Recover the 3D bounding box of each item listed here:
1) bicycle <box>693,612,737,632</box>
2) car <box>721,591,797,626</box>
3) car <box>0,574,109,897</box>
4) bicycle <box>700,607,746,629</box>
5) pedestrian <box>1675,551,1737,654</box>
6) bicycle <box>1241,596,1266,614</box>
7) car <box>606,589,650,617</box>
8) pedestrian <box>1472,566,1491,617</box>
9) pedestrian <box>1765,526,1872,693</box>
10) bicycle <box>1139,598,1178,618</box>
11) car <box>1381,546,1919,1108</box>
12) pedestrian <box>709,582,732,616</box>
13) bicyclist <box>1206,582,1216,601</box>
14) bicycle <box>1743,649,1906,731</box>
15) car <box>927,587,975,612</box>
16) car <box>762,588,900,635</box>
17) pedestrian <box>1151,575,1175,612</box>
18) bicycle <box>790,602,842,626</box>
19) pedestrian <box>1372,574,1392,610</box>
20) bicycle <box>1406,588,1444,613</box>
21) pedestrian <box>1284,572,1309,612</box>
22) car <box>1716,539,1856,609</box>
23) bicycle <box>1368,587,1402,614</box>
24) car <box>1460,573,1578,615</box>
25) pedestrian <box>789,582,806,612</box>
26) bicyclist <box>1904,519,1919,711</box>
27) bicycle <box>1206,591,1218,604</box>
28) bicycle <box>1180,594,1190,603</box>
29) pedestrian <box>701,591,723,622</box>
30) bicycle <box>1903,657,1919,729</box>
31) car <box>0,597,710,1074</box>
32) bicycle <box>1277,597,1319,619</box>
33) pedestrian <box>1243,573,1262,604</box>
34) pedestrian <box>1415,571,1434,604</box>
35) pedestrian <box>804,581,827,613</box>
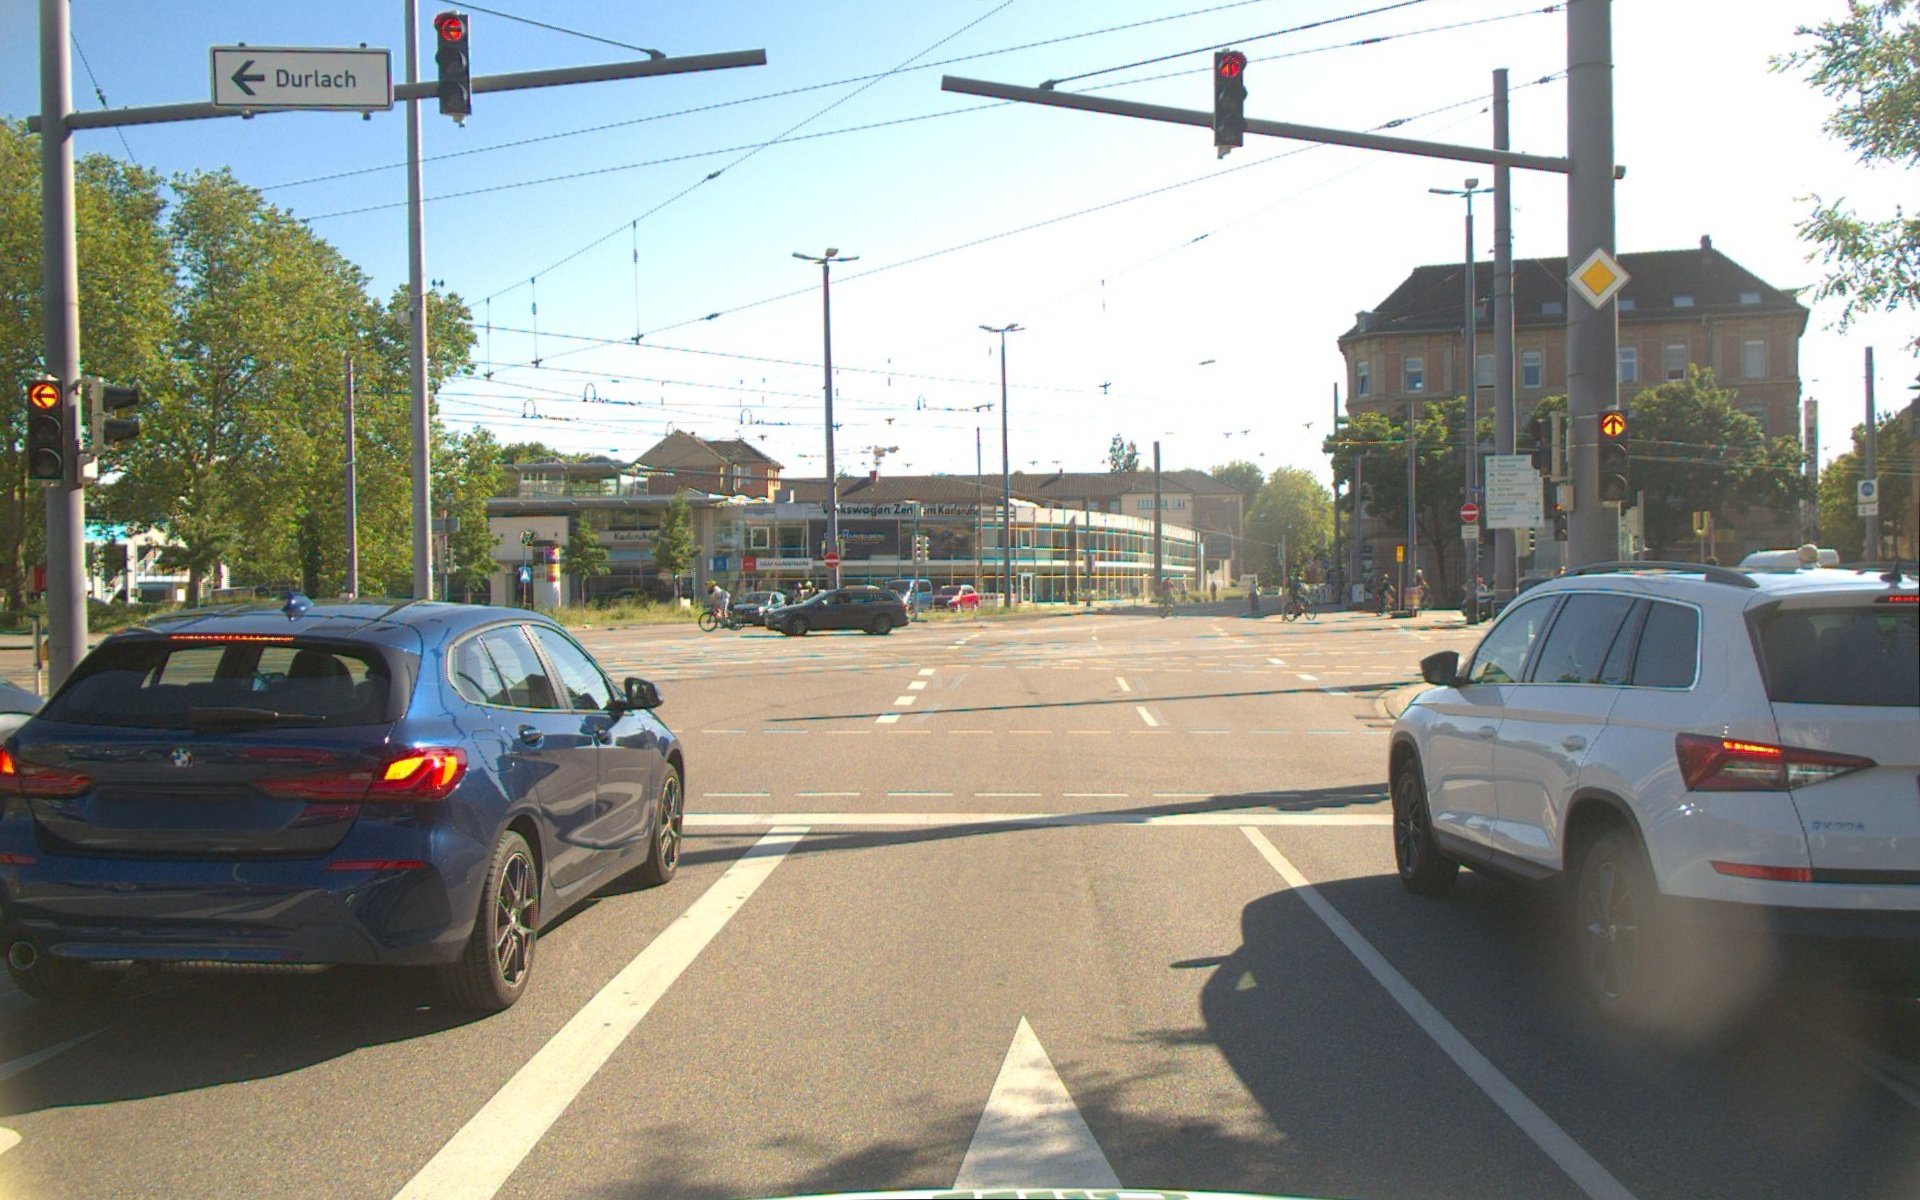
[{"bbox_3d":[-9.212,0.819,62.153,1.604,0.730,0.422,-1,0,-19],"label":"bicycle"},{"bbox_3d":[-8.296,0.349,68.544,1.668,1.378,3.702,-1,0,19],"label":"car"},{"bbox_3d":[-5.514,0.651,6.827,1.721,1.544,4.012,0,0,4],"label":"car"},{"bbox_3d":[-8.623,0.664,60.229,1.606,0.772,0.421,-1,0,-22],"label":"bicycle"},{"bbox_3d":[14.043,0.038,31.131,0.881,1.892,0.923,-1,0,36],"label":"pedestrian"},{"bbox_3d":[14.616,0.258,82.453,0.728,0.885,1.929,-1,0,26],"label":"bicycle"},{"bbox_3d":[-21.617,0.168,107.956,1.925,1.735,4.084,-1,0,2],"label":"car"},{"bbox_3d":[21.092,-0.346,66.901,0.563,2.049,0.449,-1,0,-16],"label":"pedestrian"},{"bbox_3d":[8.416,0.091,16.236,0.538,1.590,0.857,-1,0,-6],"label":"pedestrian"},{"bbox_3d":[8.926,0.343,74.335,1.916,0.885,0.733,-1,0,-44],"label":"bicycle"},{"bbox_3d":[3.179,0.659,7.086,1.660,1.670,4.297,-1,0,0],"label":"car"},{"bbox_3d":[-8.718,-0.036,60.192,0.737,1.225,0.421,-1,0,-22],"label":"pedestrian"},{"bbox_3d":[21.669,-0.754,142.684,0.792,1.652,0.929,-1,0,14],"label":"bicyclist"},{"bbox_3d":[8.430,0.863,16.210,0.527,0.667,1.723,-3,1,-6],"label":"bicycle"},{"bbox_3d":[-0.479,-0.044,93.554,1.592,1.388,3.687,-1,0,18],"label":"car"},{"bbox_3d":[-4.170,0.362,53.427,4.145,1.425,1.849,-1,0,-18],"label":"car"},{"bbox_3d":[9.149,-0.301,74.613,0.712,1.660,0.792,-1,0,-43],"label":"pedestrian"},{"bbox_3d":[-5.615,0.538,64.440,1.974,0.929,0.559,-1,0,-18],"label":"bicycle"},{"bbox_3d":[18.326,-0.352,71.838,0.539,1.543,0.702,-1,0,43],"label":"pedestrian"},{"bbox_3d":[21.398,0.026,76.169,1.996,1.139,0.543,-1,0,-35],"label":"bicycle"},{"bbox_3d":[13.999,-0.345,68.877,0.712,1.660,0.747,-1,0,-41],"label":"pedestrian"},{"bbox_3d":[34.190,-1.090,68.402,5.833,2.792,2.126,-1,0,-27],"label":"car"},{"bbox_3d":[18.498,0.028,72.011,0.539,1.139,2.006,-1,0,42],"label":"bicycle"},{"bbox_3d":[21.376,-0.228,63.222,4.190,1.529,1.694,-1,0,-21],"label":"car"},{"bbox_3d":[-6.688,-0.128,68.167,0.414,1.225,0.750,-1,0,19],"label":"pedestrian"},{"bbox_3d":[9.426,0.132,15.328,0.732,1.810,0.923,-2,0,-6],"label":"bicyclist"},{"bbox_3d":[21.798,-0.217,142.949,0.792,1.063,2.129,-1,0,14],"label":"bicycle"},{"bbox_3d":[18.137,-0.097,133.519,0.414,0.730,1.474,-1,0,24],"label":"bicycle"},{"bbox_3d":[-9.318,0.256,62.116,0.736,1.146,0.422,-1,0,-18],"label":"pedestrian"},{"bbox_3d":[9.429,0.889,15.245,0.526,0.667,1.466,-2,0,-5],"label":"bicycle"},{"bbox_3d":[-2.317,0.735,7.226,1.675,1.470,4.033,1,0,2],"label":"car"},{"bbox_3d":[14.112,0.328,68.973,1.914,0.885,0.734,-1,0,-42],"label":"bicycle"},{"bbox_3d":[14.558,-0.582,82.352,0.731,1.549,0.717,-1,0,26],"label":"pedestrian"},{"bbox_3d":[21.405,-0.572,76.186,0.698,1.543,0.542,-1,0,-34],"label":"pedestrian"},{"bbox_3d":[-5.640,-0.113,64.430,0.781,1.225,0.557,-1,0,-18],"label":"pedestrian"}]
